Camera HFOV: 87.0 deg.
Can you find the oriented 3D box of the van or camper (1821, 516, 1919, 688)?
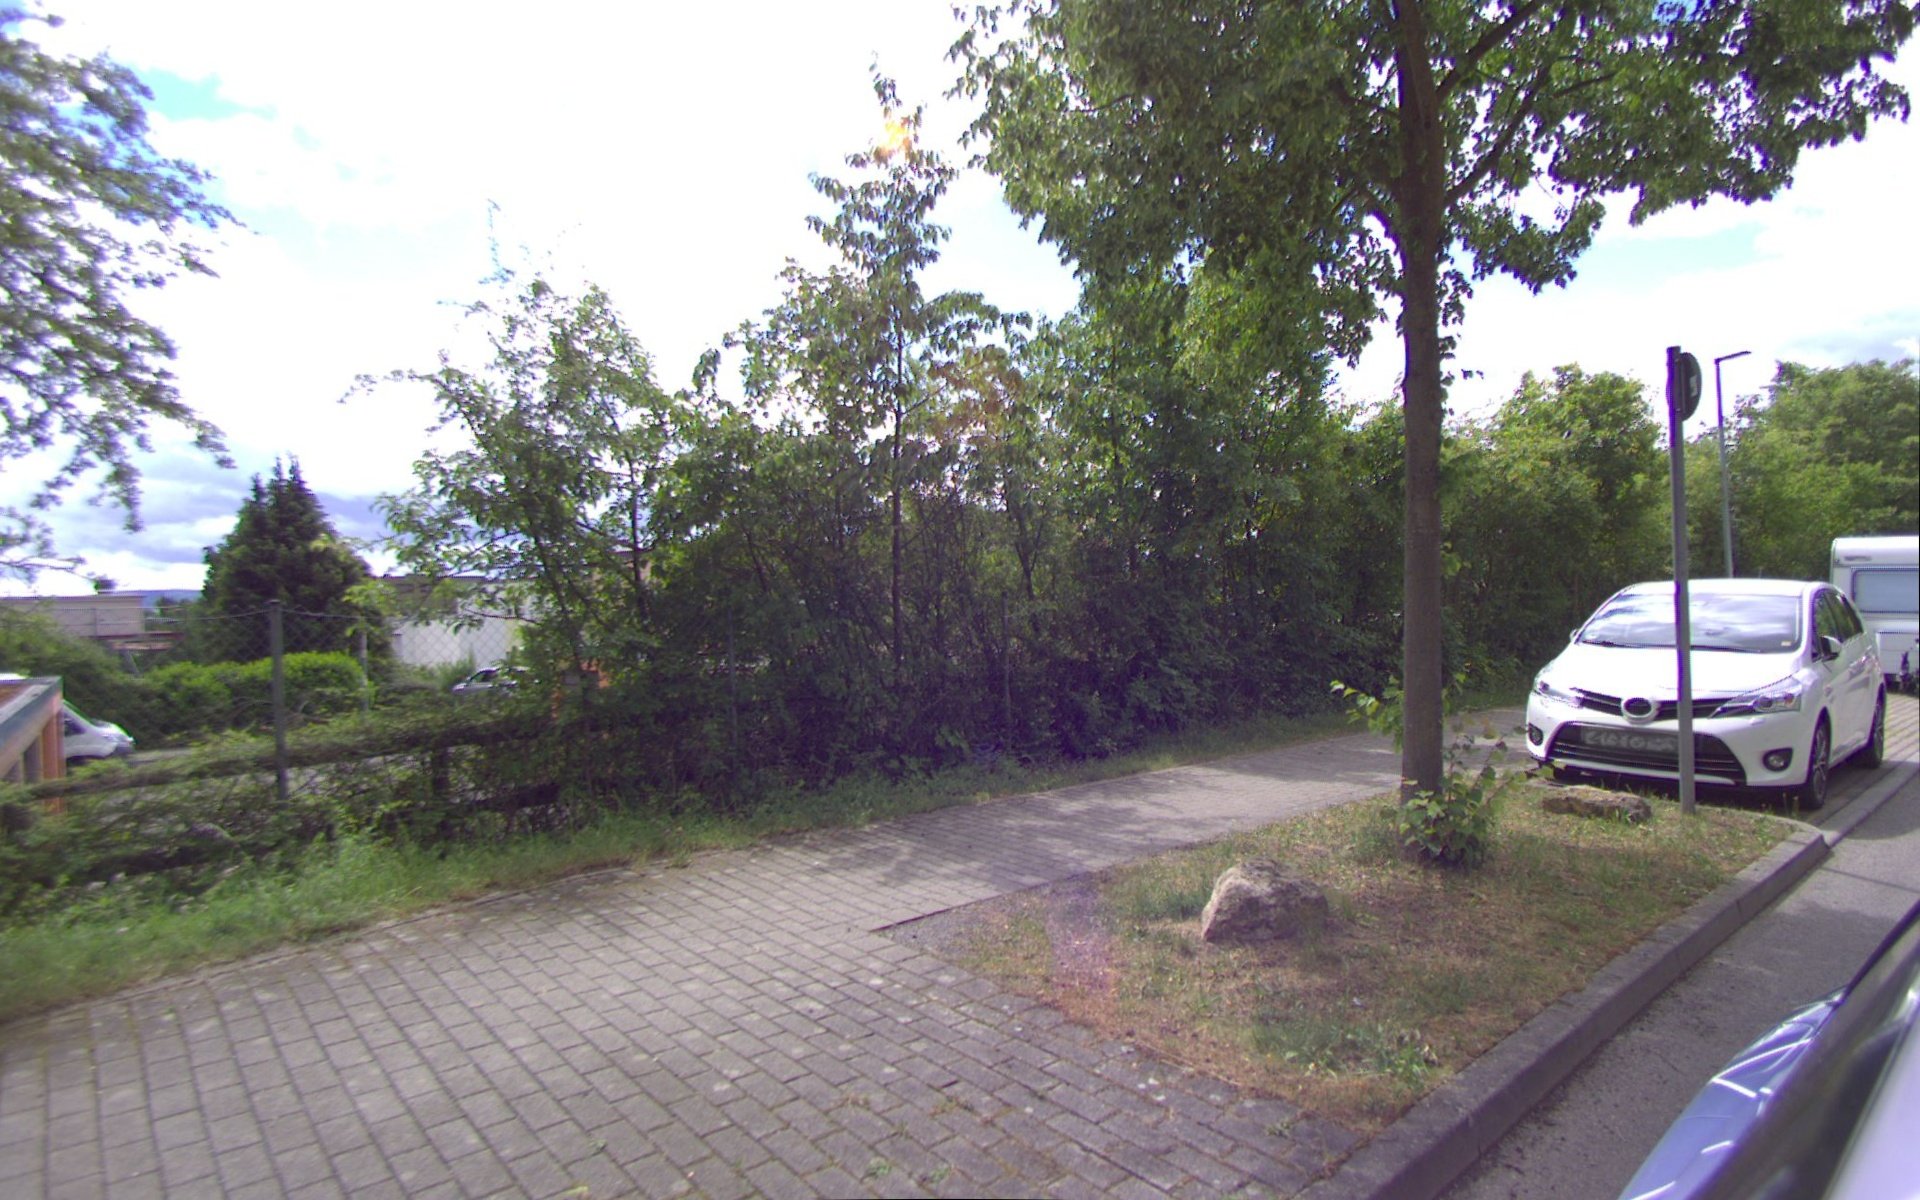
[{"bbox_3d":[16.358,0.004,16.746,4.983,2.586,2.360,-1,1,-39],"label":"van or camper"}]

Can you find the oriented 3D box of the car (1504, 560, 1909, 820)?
[{"bbox_3d":[6.333,0.548,8.391,4.295,1.620,1.808,0,0,-41],"label":"car"}]

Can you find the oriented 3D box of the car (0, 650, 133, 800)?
[{"bbox_3d":[-21.005,2.746,20.464,6.364,2.721,2.274,-5,4,-44],"label":"car"}]

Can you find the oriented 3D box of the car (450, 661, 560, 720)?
[{"bbox_3d":[-15.795,3.067,35.057,4.027,1.795,1.971,-2,-2,40],"label":"car"}]
